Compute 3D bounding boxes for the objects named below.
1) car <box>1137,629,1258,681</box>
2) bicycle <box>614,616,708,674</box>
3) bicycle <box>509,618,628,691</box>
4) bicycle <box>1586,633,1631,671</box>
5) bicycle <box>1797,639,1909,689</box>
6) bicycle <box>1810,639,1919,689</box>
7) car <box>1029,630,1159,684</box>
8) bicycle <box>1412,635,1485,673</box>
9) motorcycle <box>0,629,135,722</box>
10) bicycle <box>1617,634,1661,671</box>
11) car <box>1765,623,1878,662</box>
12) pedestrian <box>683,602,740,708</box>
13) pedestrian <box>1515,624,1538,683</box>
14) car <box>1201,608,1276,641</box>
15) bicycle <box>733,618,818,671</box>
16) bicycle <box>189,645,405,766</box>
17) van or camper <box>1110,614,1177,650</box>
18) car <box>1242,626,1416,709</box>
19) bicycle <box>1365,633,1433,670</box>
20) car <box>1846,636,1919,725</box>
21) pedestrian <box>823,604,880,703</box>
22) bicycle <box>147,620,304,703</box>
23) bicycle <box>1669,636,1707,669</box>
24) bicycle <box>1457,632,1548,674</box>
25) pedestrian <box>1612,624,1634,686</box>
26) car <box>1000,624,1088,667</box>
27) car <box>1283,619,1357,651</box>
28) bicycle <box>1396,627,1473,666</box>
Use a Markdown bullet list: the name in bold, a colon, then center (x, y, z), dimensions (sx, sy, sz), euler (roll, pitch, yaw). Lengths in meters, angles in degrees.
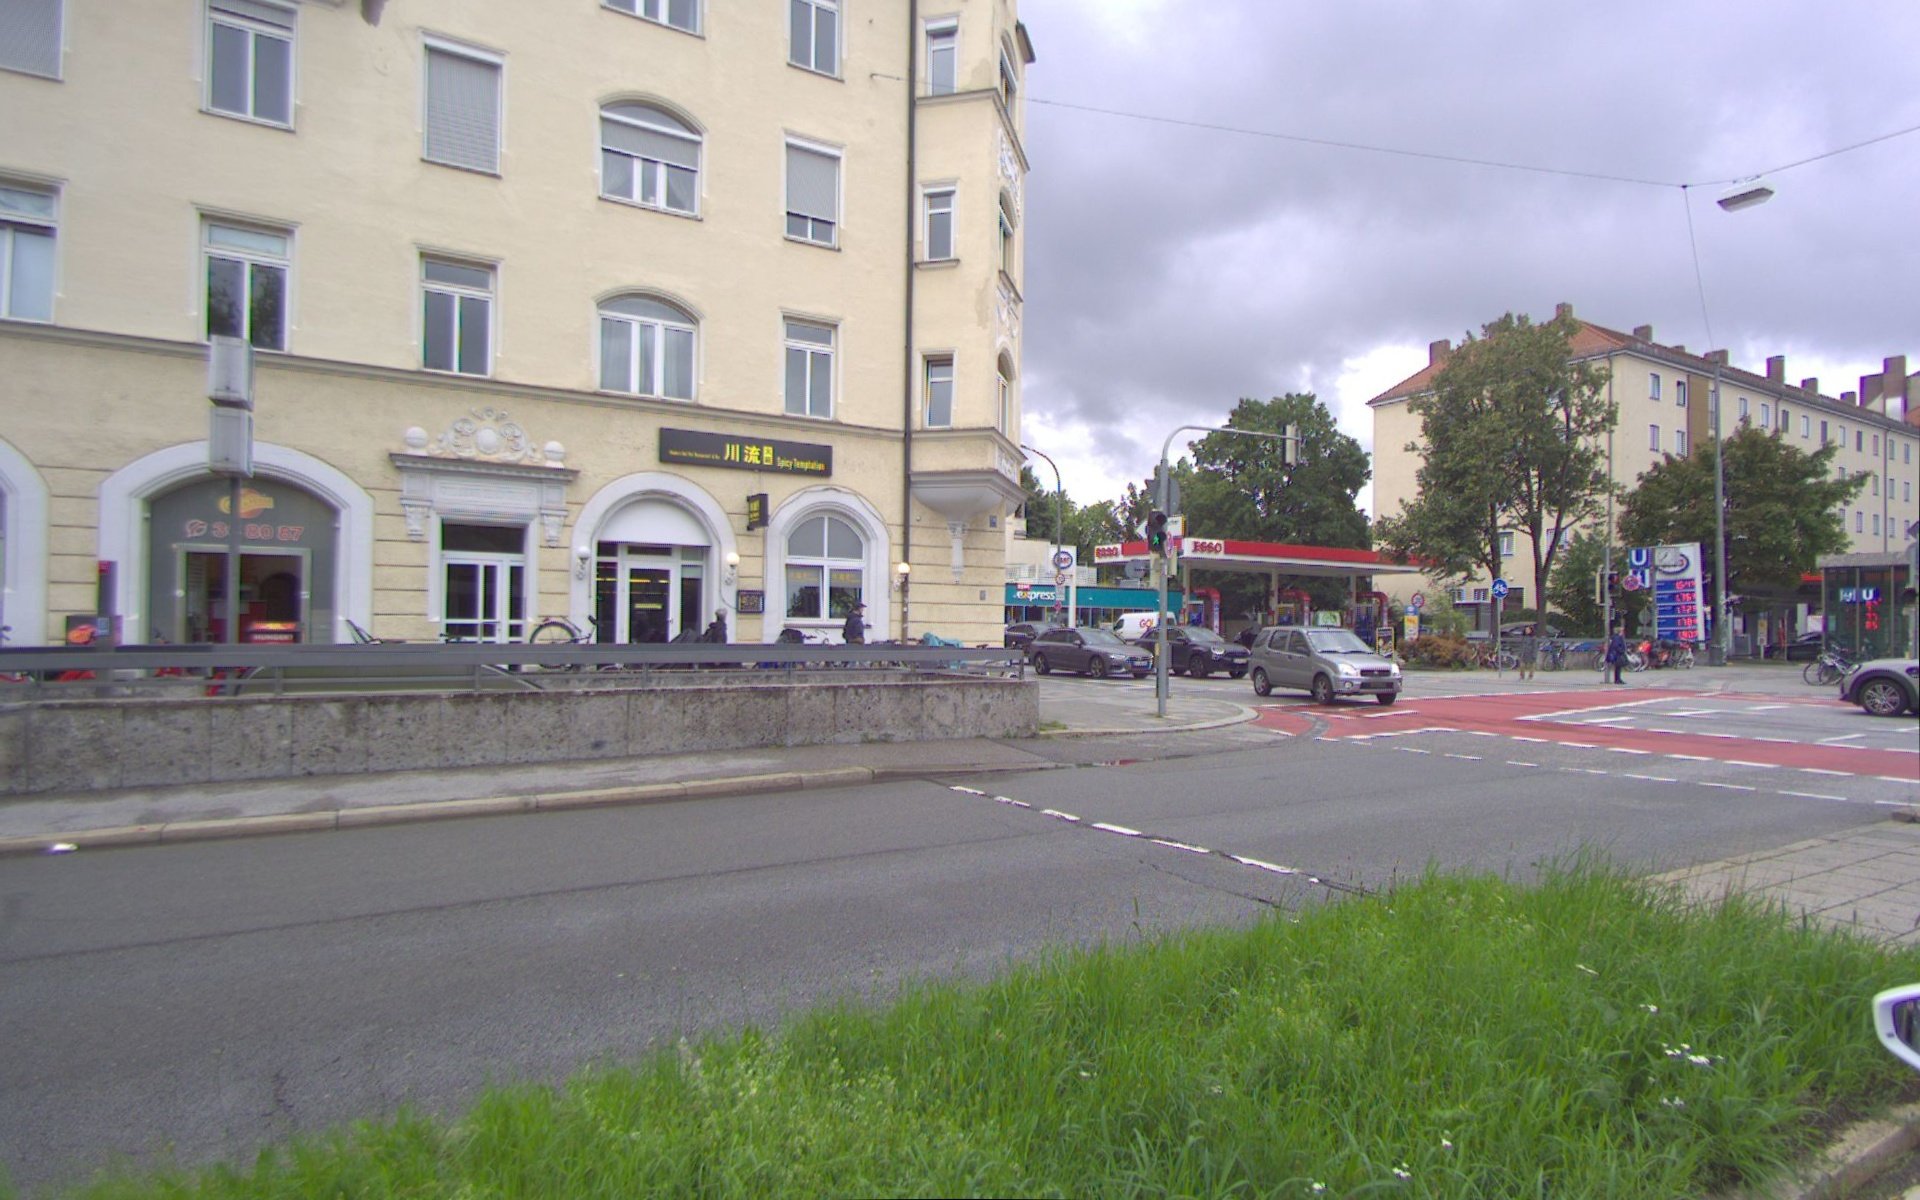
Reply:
- **car**: center (7.095, 1.616, 30.304), dimensions (1.643, 1.430, 3.534), euler (1, -1, -27)
- **bicycle**: center (-5.261, 0.780, 17.708), dimensions (1.527, 0.993, 0.470), euler (1, -1, -30)
- **bicycle**: center (-5.571, 0.767, 14.318), dimensions (1.527, 0.993, 0.470), euler (1, -1, -30)
- **bicycle**: center (22.428, 1.785, 34.720), dimensions (2.167, 1.252, 0.603), euler (1, -1, -37)
- **bicycle**: center (25.206, 1.776, 28.398), dimensions (0.695, 1.322, 2.262), euler (1, -1, -28)
- **bicycle**: center (25.880, 1.807, 28.772), dimensions (0.685, 1.322, 2.275), euler (1, -1, -28)
- **car**: center (3.907, 1.632, 29.985), dimensions (1.644, 1.430, 4.296), euler (1, -1, -29)
- **bicycle**: center (16.917, 1.840, 34.802), dimensions (0.760, 1.252, 2.161), euler (1, -1, -41)
- **motorcycle**: center (-12.030, 0.977, 13.271), dimensions (1.947, 1.137, 0.610), euler (1, -1, 10)
- **bicycle**: center (23.410, 1.798, 34.621), dimensions (2.167, 1.252, 0.603), euler (1, -1, -37)
- **car**: center (43.359, 2.123, 50.626), dimensions (1.860, 1.862, 3.965), euler (1, -1, -32)
- **pedestrian**: center (-4.130, 0.897, 16.673), dimensions (0.762, 1.719, 0.539), euler (1, -1, -34)
- **pedestrian**: center (16.743, 1.565, 29.712), dimensions (0.581, 1.717, 0.576), euler (0, -1, 29)
- **car**: center (15.677, 1.385, 56.713), dimensions (1.836, 1.808, 3.968), euler (1, -1, -30)
- **bicycle**: center (-3.507, 0.844, 19.173), dimensions (1.527, 0.993, 0.470), euler (1, -1, -30)
- **bicycle**: center (-6.732, 1.034, 10.266), dimensions (1.798, 1.130, 0.392), euler (1, -1, -39)
- **van or camper**: center (12.507, 2.173, 68.775), dimensions (1.899, 2.354, 4.508), euler (1, -1, -34)
- **car**: center (7.617, 1.349, 21.093), dimensions (1.636, 1.537, 3.619), euler (1, -1, -15)
- **bicycle**: center (15.901, 1.848, 36.444), dimensions (0.759, 1.252, 2.162), euler (1, -1, -39)
- **car**: center (17.967, 1.413, 17.014), dimensions (1.676, 1.534, 4.148), euler (1, -1, -30)
- **pedestrian**: center (-1.924, 0.949, 17.874), dimensions (0.927, 1.719, 0.593), euler (1, -1, 1)
- **bicycle**: center (-9.189, 0.760, 12.626), dimensions (1.527, 0.993, 0.470), euler (1, -1, -30)
- **bicycle**: center (26.801, 1.923, 36.965), dimensions (1.947, 1.160, 0.603), euler (1, -1, -37)
- **bicycle**: center (18.457, 1.785, 34.236), dimensions (2.664, 1.267, 0.792), euler (2, 0, 30)
- **pedestrian**: center (18.816, 1.546, 28.503), dimensions (0.527, 1.717, 0.575), euler (0, -1, 34)
- **car**: center (3.138, 1.681, 37.991), dimensions (1.677, 1.534, 3.308), euler (1, -1, -32)
- **car**: center (21.778, 2.095, 60.854), dimensions (1.836, 1.808, 3.968), euler (1, -1, -30)
- **bicycle**: center (16.974, 1.646, 36.002), dimensions (0.785, 1.267, 2.374), euler (2, 0, -40)
